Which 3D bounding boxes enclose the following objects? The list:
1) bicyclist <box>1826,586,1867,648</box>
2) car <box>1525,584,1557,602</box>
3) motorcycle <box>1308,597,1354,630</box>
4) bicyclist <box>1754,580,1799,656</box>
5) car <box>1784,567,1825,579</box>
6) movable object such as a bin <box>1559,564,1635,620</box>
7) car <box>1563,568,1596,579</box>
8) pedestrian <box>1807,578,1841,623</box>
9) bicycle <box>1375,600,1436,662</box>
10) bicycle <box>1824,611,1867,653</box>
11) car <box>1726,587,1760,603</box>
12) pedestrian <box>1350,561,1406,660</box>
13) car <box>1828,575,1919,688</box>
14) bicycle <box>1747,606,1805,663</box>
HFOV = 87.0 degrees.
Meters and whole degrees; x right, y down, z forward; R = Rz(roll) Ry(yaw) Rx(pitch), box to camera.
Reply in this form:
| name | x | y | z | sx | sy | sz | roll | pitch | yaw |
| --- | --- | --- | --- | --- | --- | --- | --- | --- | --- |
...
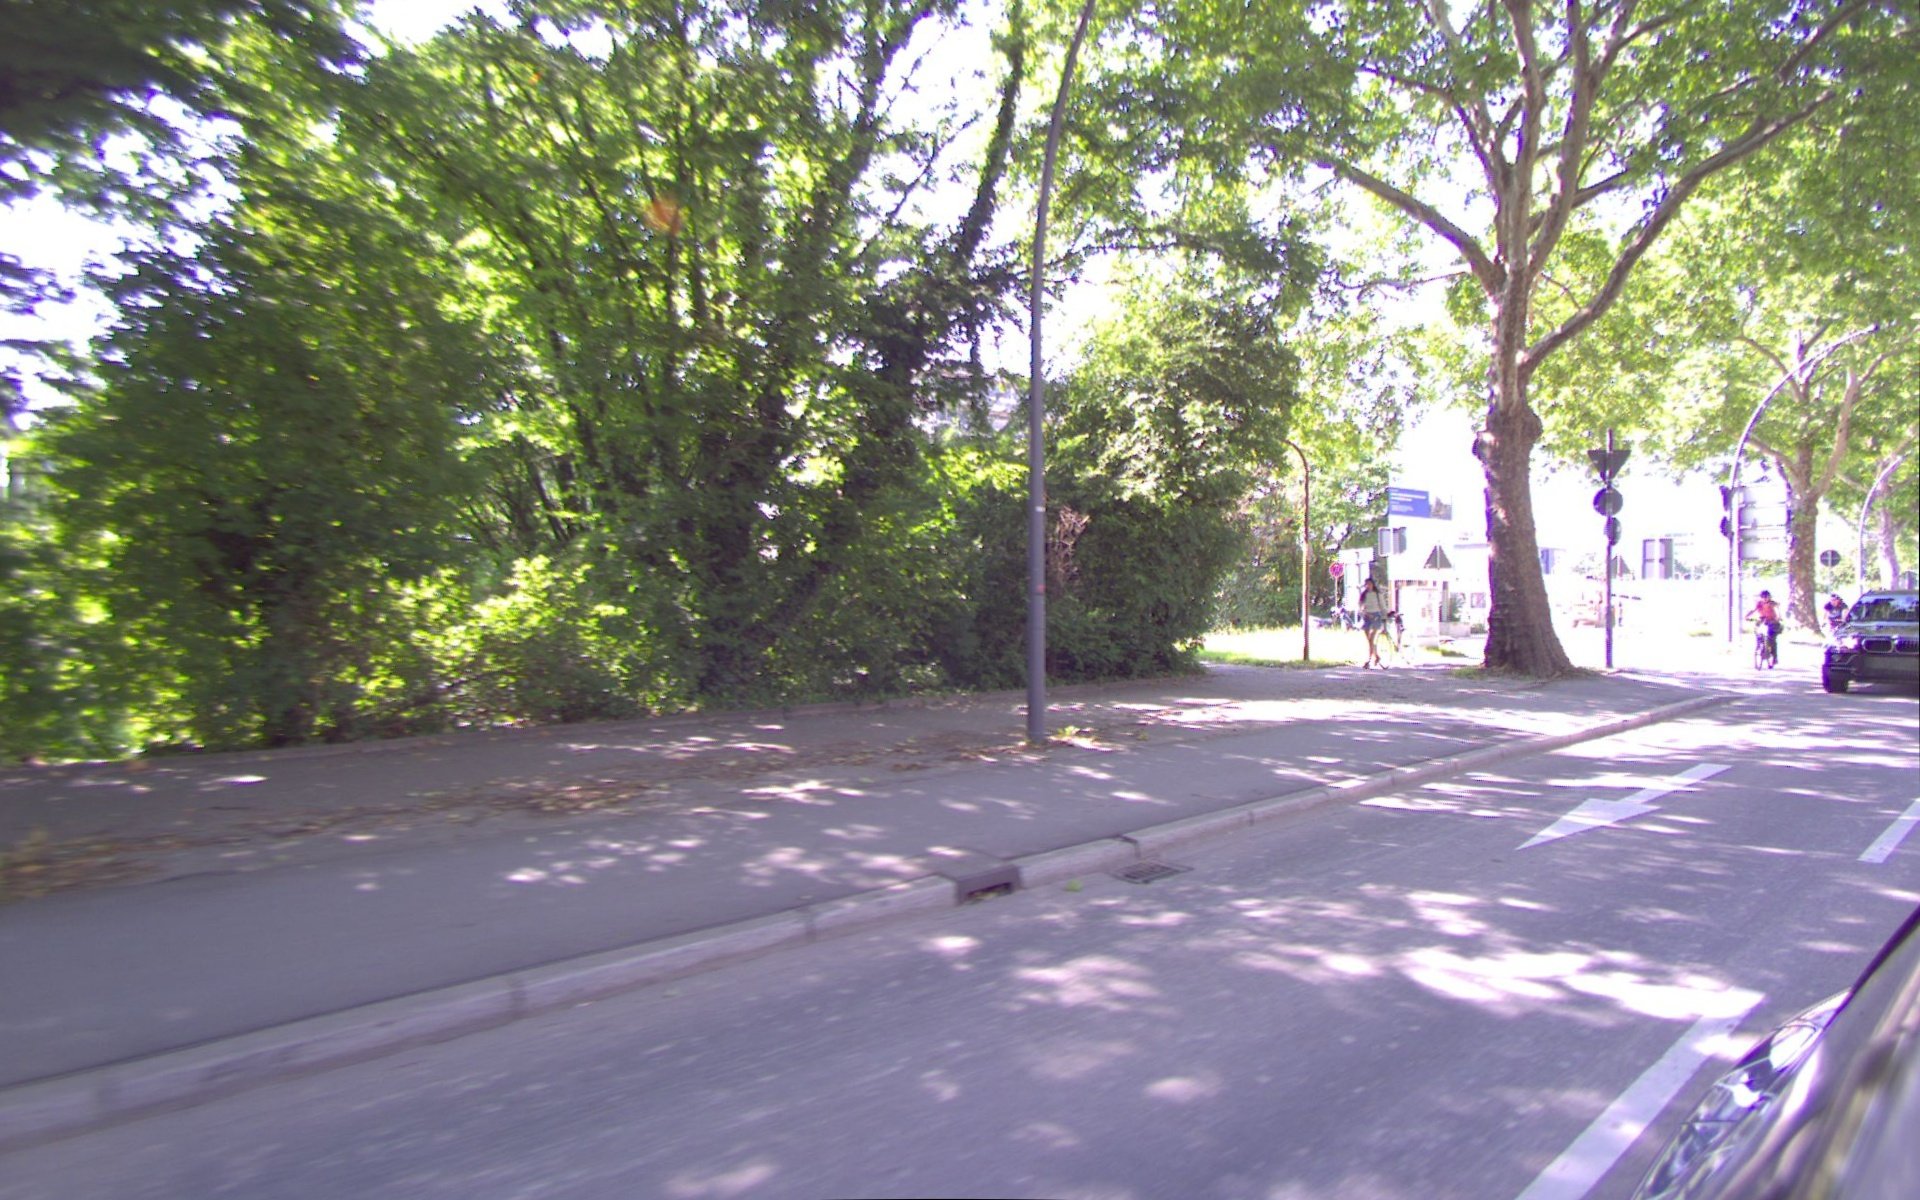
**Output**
| name | x | y | z | sx | sy | sz | roll | pitch | yaw |
| --- | --- | --- | --- | --- | --- | --- | --- | --- | --- |
| bicyclist | 22.602 | 0.414 | 25.805 | 1.194 | 1.508 | 0.599 | 0 | 2 | -42 |
| car | 92.426 | -1.088 | 161.024 | 1.779 | 2.773 | 3.990 | 0 | 0 | -43 |
| motorcycle | 11.028 | 0.392 | 30.099 | 1.219 | 0.980 | 0.464 | 0 | 0 | 44 |
| bicyclist | 17.895 | 0.383 | 22.179 | 0.720 | 1.620 | 0.621 | 0 | 1 | -42 |
| car | 111.521 | -3.581 | 133.675 | 1.779 | 1.529 | 3.990 | 0 | 0 | -43 |
| movable object such as a bin | 37.366 | -0.454 | 59.299 | 5.885 | 3.111 | 2.371 | 0 | -1 | -44 |
| car | 94.046 | -3.976 | 153.571 | 1.779 | 1.529 | 3.990 | 0 | 0 | -43 |
| pedestrian | 37.707 | 0.019 | 44.167 | 1.131 | 1.916 | 0.940 | 0 | 0 | -40 |
| bicycle | 8.301 | 0.561 | 18.841 | 1.669 | 1.095 | 0.350 | 0 | 0 | -41 |
| bicycle | 22.641 | 0.812 | 25.861 | 1.751 | 0.992 | 0.598 | 0 | 2 | -42 |
| car | 122.359 | -0.770 | 158.256 | 1.779 | 2.351 | 3.990 | 0 | 0 | -43 |
| pedestrian | 7.828 | 0.187 | 18.939 | 0.859 | 1.808 | 0.633 | 0 | -1 | -41 |
| car | 16.338 | 0.483 | 17.108 | 4.079 | 1.752 | 1.923 | 0 | 0 | -41 |
| bicycle | 17.854 | 0.733 | 22.132 | 1.911 | 1.143 | 0.652 | 0 | 2 | -41 |
